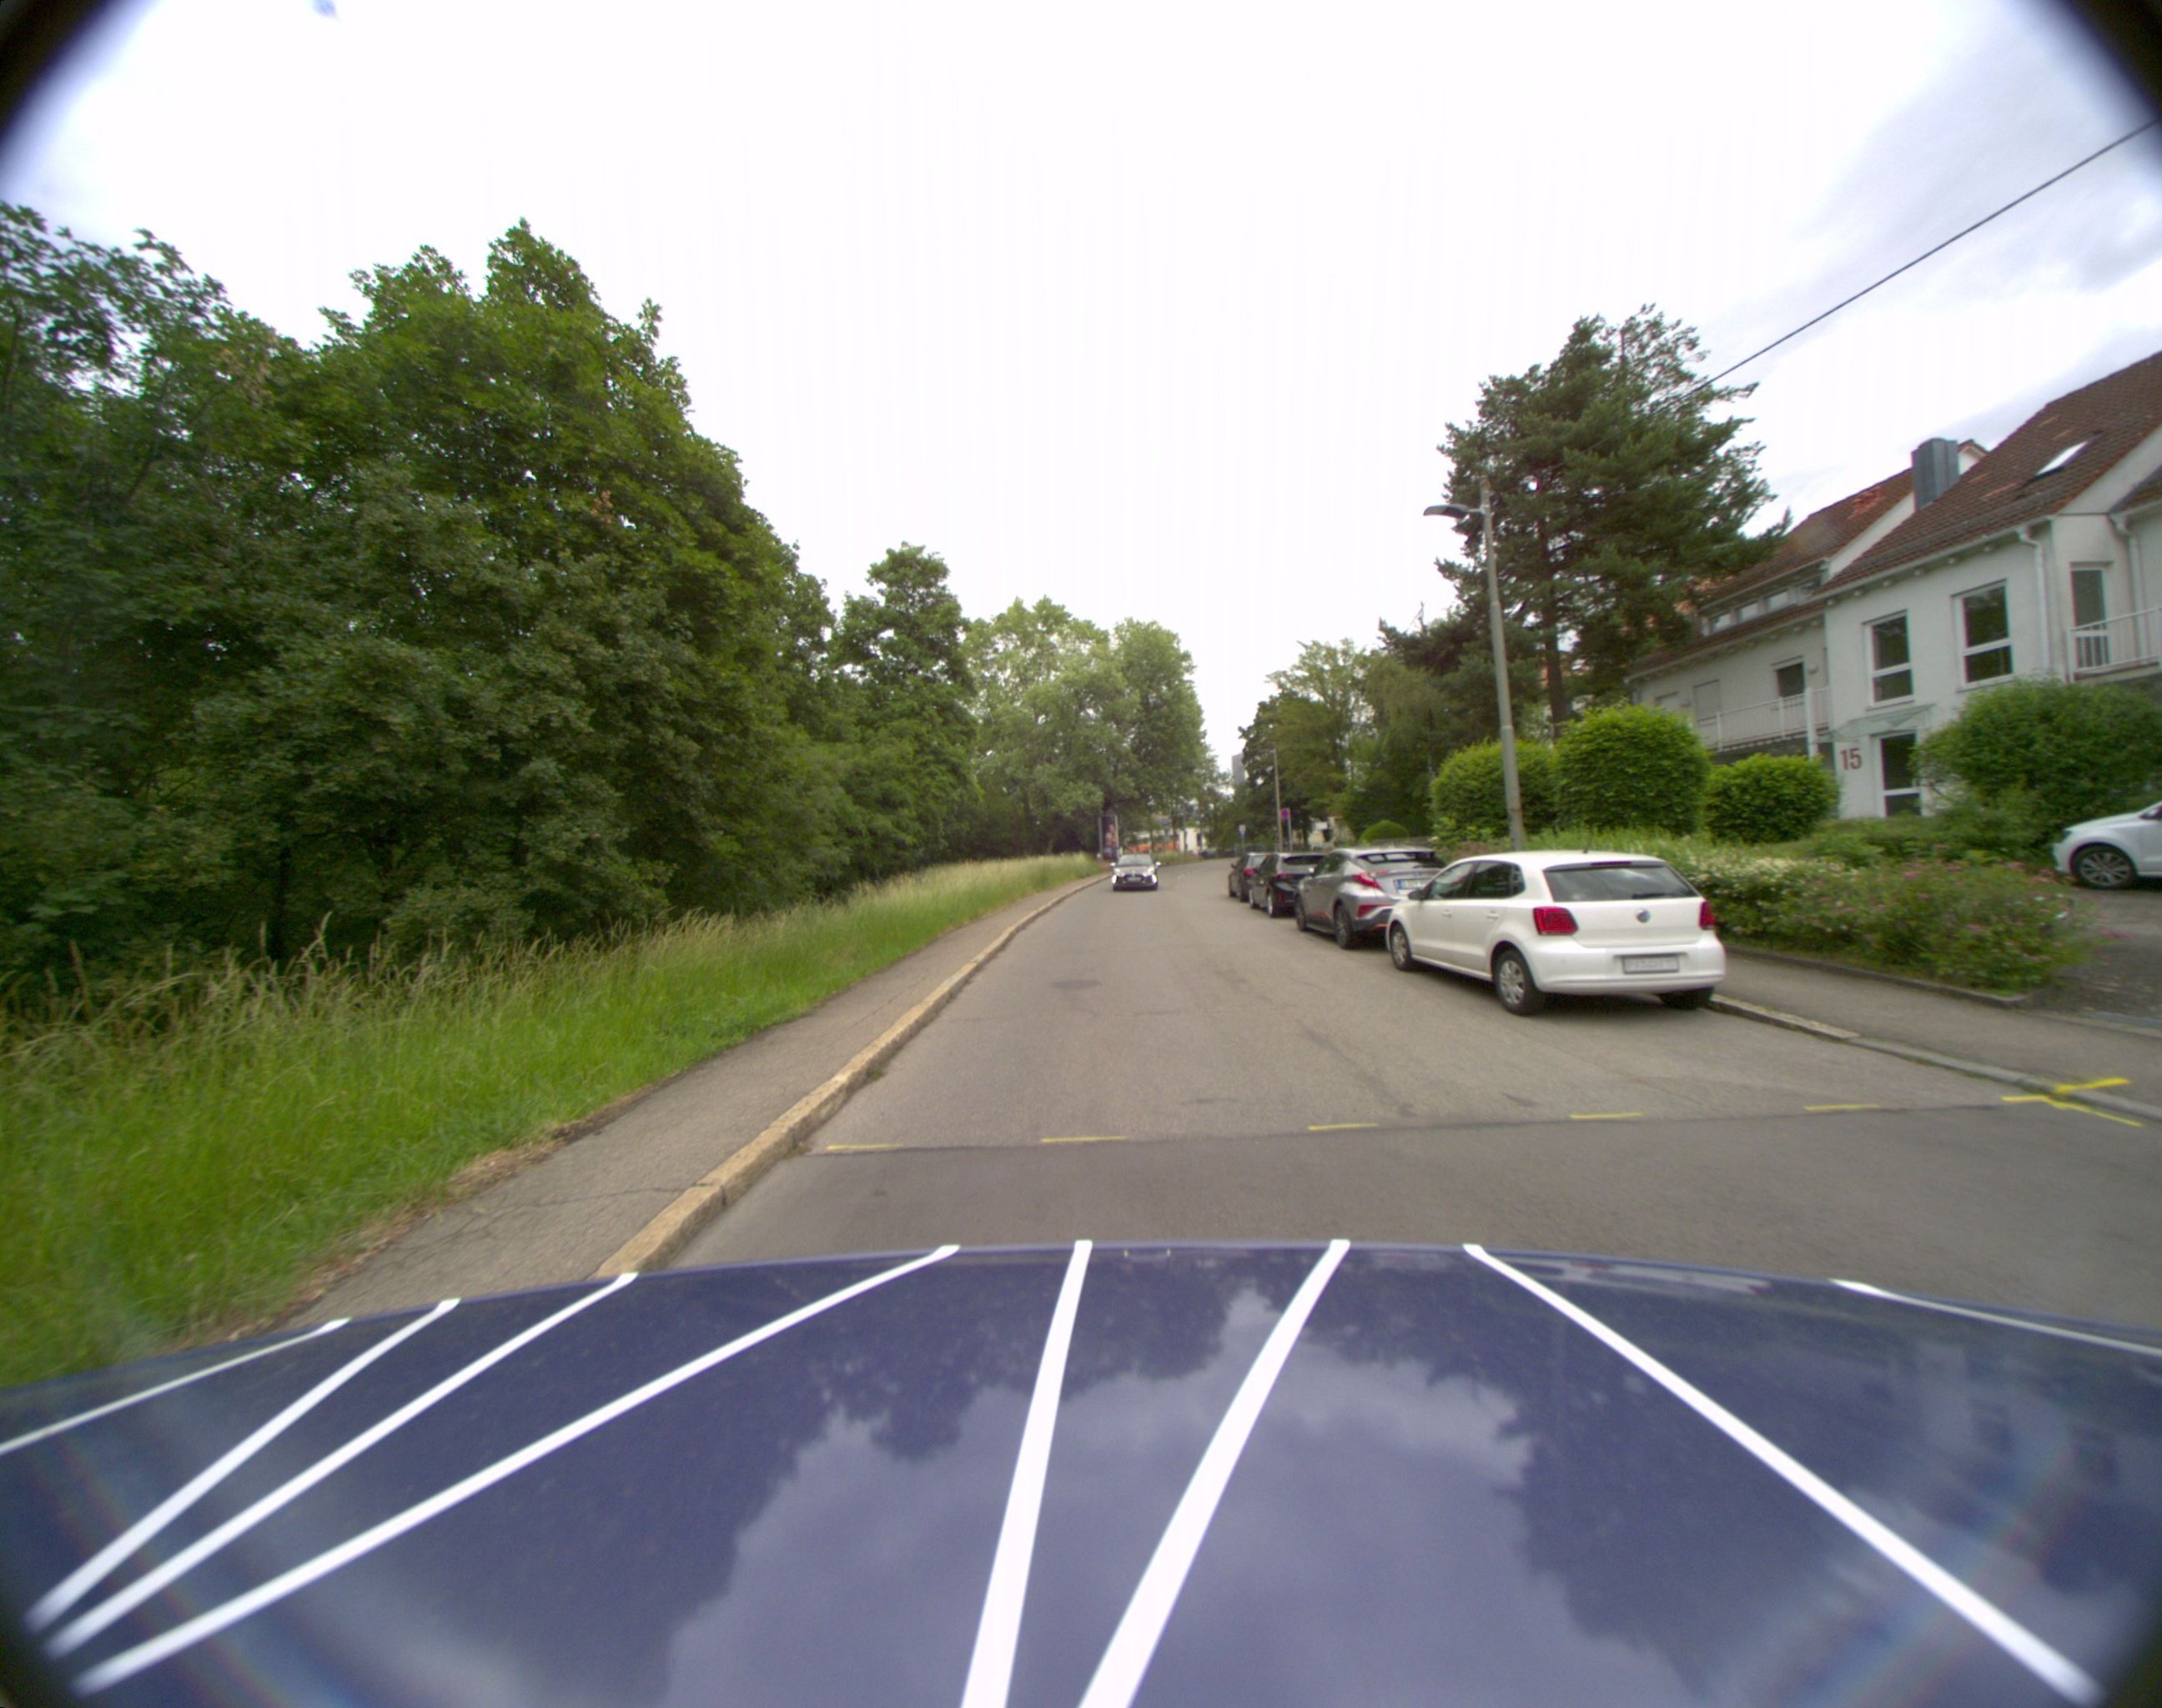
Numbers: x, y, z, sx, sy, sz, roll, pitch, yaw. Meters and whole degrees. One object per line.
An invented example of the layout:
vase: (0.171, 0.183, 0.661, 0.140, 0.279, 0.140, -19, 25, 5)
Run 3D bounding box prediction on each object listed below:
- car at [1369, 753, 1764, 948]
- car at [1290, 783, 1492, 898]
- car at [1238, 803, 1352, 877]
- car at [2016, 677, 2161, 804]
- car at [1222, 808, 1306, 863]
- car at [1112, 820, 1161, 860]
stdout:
car: (4.616, -0.075, 8.015, 1.627, 1.472, 3.927, -3, 2, 0)
car: (4.772, -0.242, 12.378, 1.765, 1.472, 4.127, -3, 2, 3)
car: (4.888, -0.367, 17.959, 1.653, 1.433, 4.332, -4, 2, 4)
car: (13.680, -1.405, 8.456, 1.707, 1.450, 3.931, -9, 4, 3)
car: (5.379, -0.549, 22.887, 1.738, 1.410, 4.504, -3, 1, 5)
car: (2.275, -0.553, 30.396, 1.645, 1.390, 3.783, -4, 0, 7)
